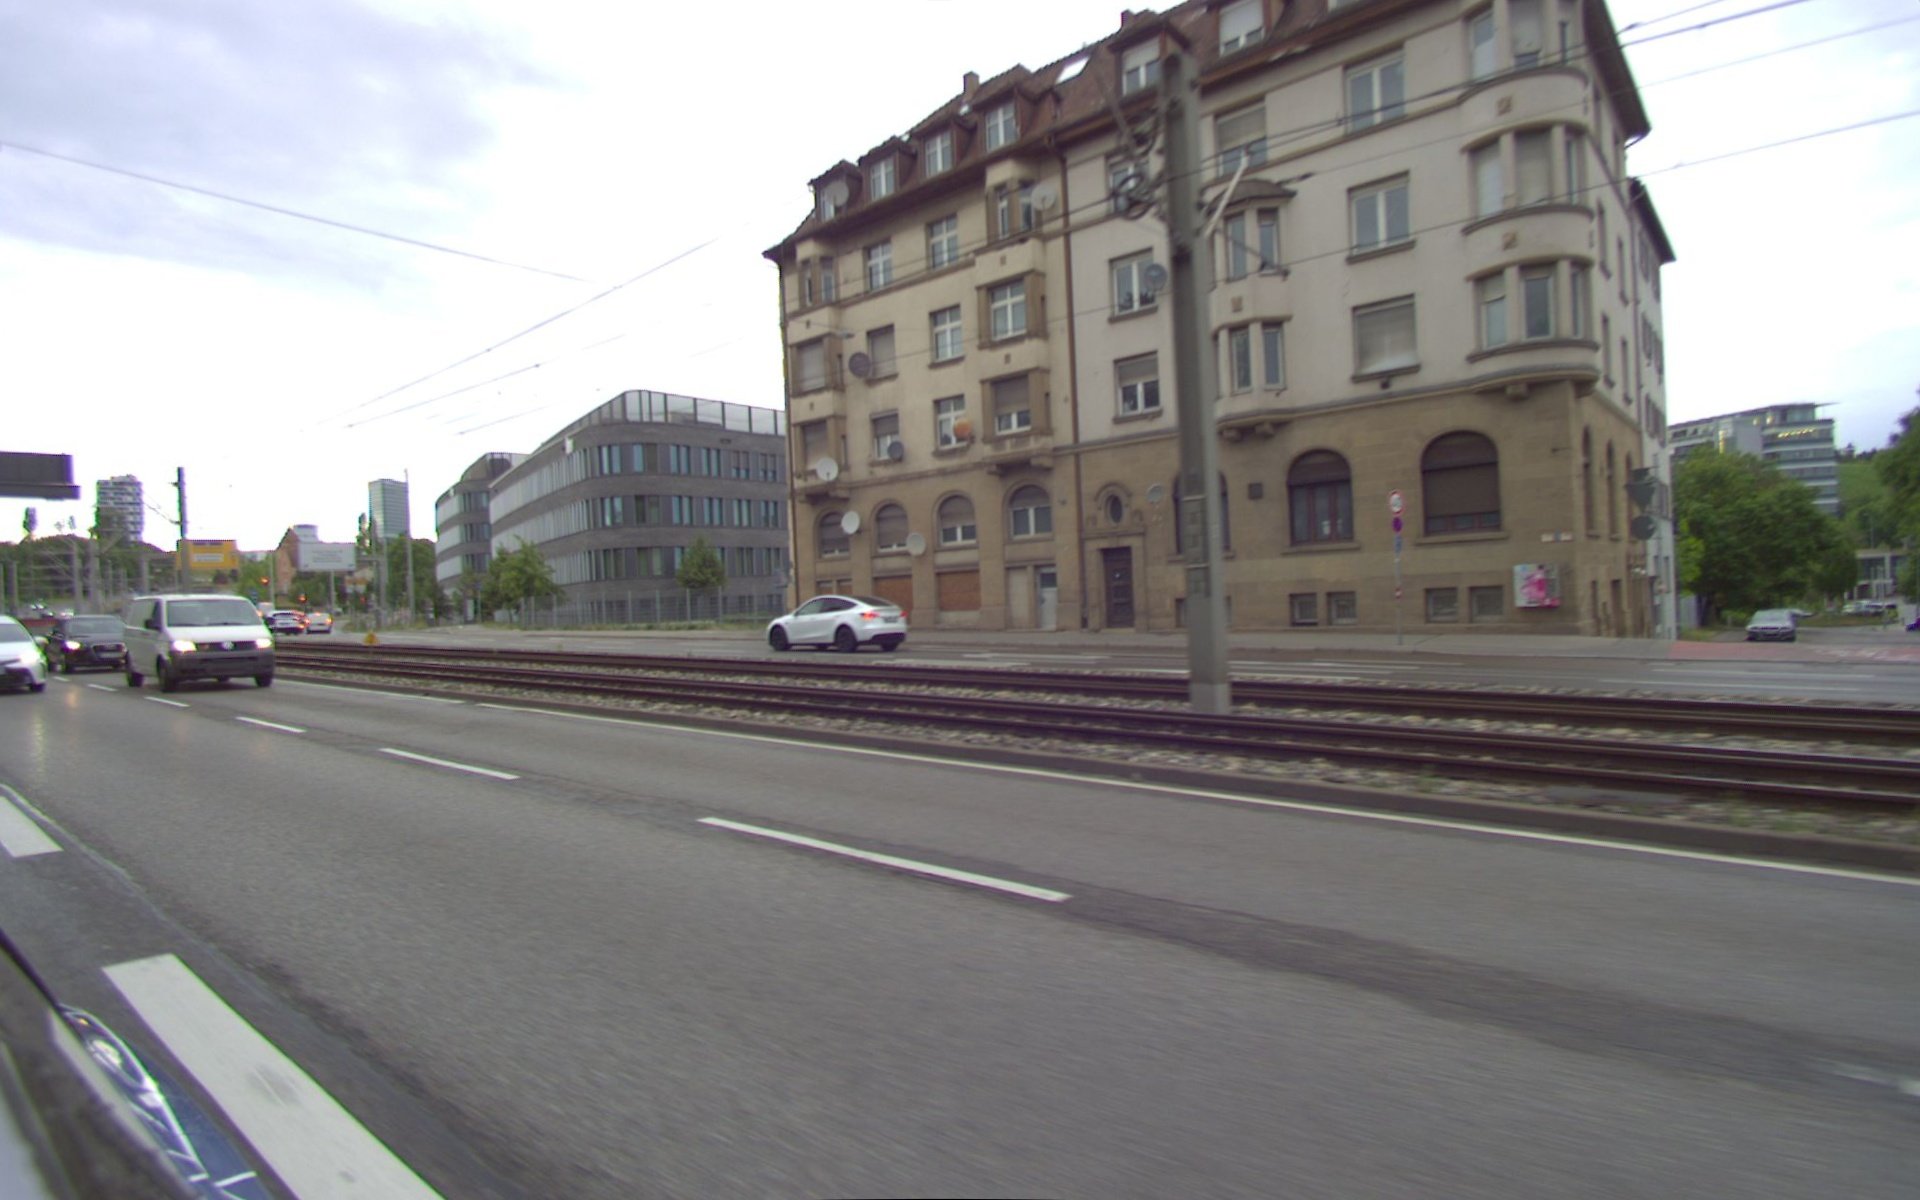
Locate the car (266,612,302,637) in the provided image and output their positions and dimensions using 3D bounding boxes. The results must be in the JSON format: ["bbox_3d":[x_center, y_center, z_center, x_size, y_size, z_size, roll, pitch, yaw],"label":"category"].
[{"bbox_3d":[-45.934,1.626,68.730,1.723,1.609,4.498,-1,0,-38],"label":"car"}]

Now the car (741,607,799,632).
[{"bbox_3d":[-12.965,1.301,68.924,3.998,1.666,1.723,-1,0,41],"label":"car"}]

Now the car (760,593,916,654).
[{"bbox_3d":[-3.573,0.673,29.019,4.739,1.604,1.703,-1,-2,40],"label":"car"}]

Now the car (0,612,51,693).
[{"bbox_3d":[-20.577,1.076,21.073,4.317,1.585,1.956,-1,0,41],"label":"car"}]

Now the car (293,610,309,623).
[{"bbox_3d":[-93.964,2.324,144.324,1.807,1.811,4.226,0,-2,-35],"label":"car"}]

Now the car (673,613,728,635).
[{"bbox_3d":[-16.310,1.504,63.539,3.566,1.345,1.601,-1,0,41],"label":"car"}]

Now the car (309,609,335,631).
[{"bbox_3d":[-54.518,1.744,86.448,1.807,1.811,4.226,0,-2,-33],"label":"car"}]

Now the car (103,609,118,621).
[{"bbox_3d":[-152.046,2.678,181.127,1.969,1.962,4.006,-1,0,-40],"label":"car"}]

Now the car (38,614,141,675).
[{"bbox_3d":[-24.633,1.213,28.600,3.894,1.585,1.686,-1,0,41],"label":"car"}]

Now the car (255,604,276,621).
[{"bbox_3d":[-104.668,1.839,152.507,2.301,2.486,7.043,-1,0,-36],"label":"car"}]

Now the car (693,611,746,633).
[{"bbox_3d":[-15.511,1.404,65.156,3.566,1.393,1.525,-1,0,41],"label":"car"}]

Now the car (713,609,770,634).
[{"bbox_3d":[-14.467,1.415,66.875,3.787,1.556,1.723,-1,0,41],"label":"car"}]

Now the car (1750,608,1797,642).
[{"bbox_3d":[38.375,1.155,47.826,1.609,1.444,4.119,-1,0,38],"label":"car"}]

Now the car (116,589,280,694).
[{"bbox_3d":[-16.268,0.820,21.519,4.716,1.973,1.889,-1,0,42],"label":"car"}]
